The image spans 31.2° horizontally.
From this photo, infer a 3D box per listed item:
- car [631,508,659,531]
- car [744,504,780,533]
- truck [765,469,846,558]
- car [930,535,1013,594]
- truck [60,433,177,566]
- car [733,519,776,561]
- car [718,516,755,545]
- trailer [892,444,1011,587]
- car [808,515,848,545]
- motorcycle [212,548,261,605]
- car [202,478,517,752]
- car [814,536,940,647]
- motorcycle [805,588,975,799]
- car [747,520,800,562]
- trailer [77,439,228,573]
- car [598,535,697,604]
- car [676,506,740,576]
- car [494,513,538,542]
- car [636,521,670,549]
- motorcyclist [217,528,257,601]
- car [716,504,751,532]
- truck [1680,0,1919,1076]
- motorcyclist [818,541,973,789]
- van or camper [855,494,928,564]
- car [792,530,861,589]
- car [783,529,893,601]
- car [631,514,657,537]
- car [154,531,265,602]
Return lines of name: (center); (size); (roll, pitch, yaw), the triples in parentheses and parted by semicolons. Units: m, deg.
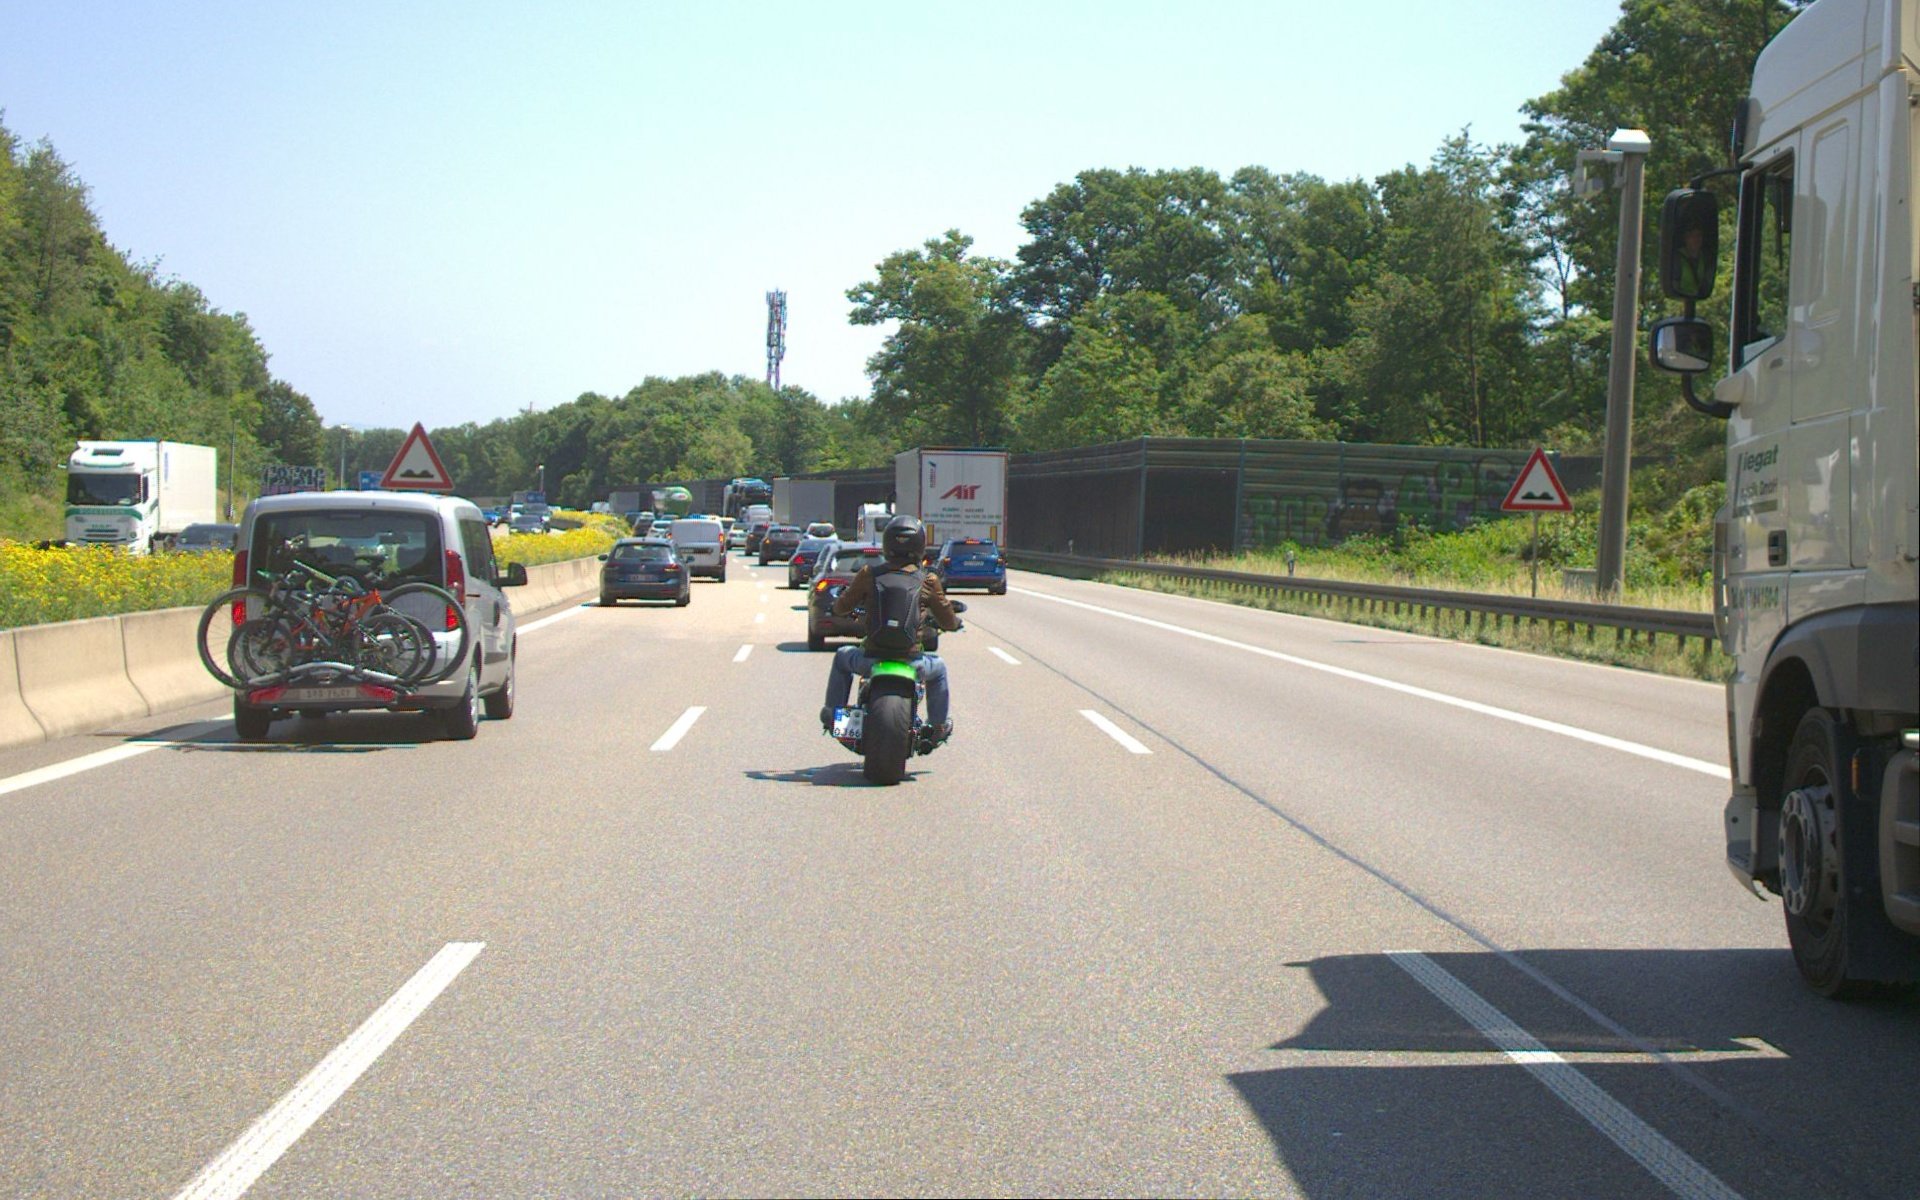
car: (-21.429, -5.460, 233.554); (1.832, 1.491, 3.744); (1, 0, -6)
car: (-13.354, -5.459, 231.461); (2.107, 1.870, 4.001); (1, 0, -7)
truck: (-8.986, -4.941, 199.227); (3.802, 4.943, 8.953); (1, 0, -8)
car: (0.283, -0.921, 90.069); (1.650, 1.477, 4.483); (1, 0, -7)
truck: (-26.521, -3.120, 108.504); (2.689, 4.076, 5.204); (1, 0, -4)
car: (-9.956, -2.894, 166.451); (1.911, 2.007, 3.691); (1, 0, -6)
car: (-12.063, -3.754, 185.490); (1.832, 1.491, 3.744); (1, 0, -5)
trailer: (-0.388, -2.598, 104.894); (2.885, 4.024, 13.797); (1, 1, -3)
car: (-7.201, -3.799, 187.333); (1.993, 1.568, 4.001); (1, 0, -4)
motorcycle: (-13.325, -0.437, 63.344); (0.623, 1.029, 1.467); (1, 1, -1)
car: (-4.430, 0.085, 25.946); (1.899, 1.867, 4.413); (1, 0, -4)
car: (-1.176, -0.130, 47.646); (1.662, 1.448, 3.869); (1, 0, -2)
motorcycle: (-0.417, 0.542, 21.453); (0.964, 1.144, 2.812); (1, 2, 0)
car: (-7.565, -2.393, 139.461); (1.993, 1.634, 4.001); (1, 0, -5)
trailer: (-26.968, -3.030, 115.427); (2.714, 4.193, 13.935); (1, 0, -4)
car: (-6.560, -0.650, 72.220); (1.993, 1.382, 4.001); (1, 0, -5)
car: (-7.507, -1.741, 102.489); (1.791, 2.007, 3.642); (1, 0, -3)
car: (-23.979, -3.925, 185.727); (1.993, 1.481, 4.000); (1, 0, -2)
car: (-17.287, -3.667, 193.555); (1.832, 1.491, 3.744); (1, 0, -5)
motorcyclist: (-13.318, -0.648, 63.311); (0.623, 1.329, 0.577); (1, 1, -2)
car: (-15.606, -5.657, 236.932); (2.107, 1.870, 4.001); (1, 0, -7)
truck: (4.167, -0.721, 10.042); (2.786, 4.190, 5.870); (1, 2, 0)
motorcyclist: (-0.385, 0.380, 21.404); (0.899, 1.470, 1.872); (1, 0, 0)
van or camper: (-2.926, -2.959, 144.815); (2.685, 2.803, 6.804); (1, 0, -4)
car: (-3.661, -1.100, 93.955); (1.779, 1.547, 3.585); (1, 0, -4)
car: (-2.538, -0.719, 70.834); (1.993, 1.425, 3.848); (1, 0, -6)
car: (-23.544, -5.560, 256.509); (1.839, 1.624, 4.001); (1, 1, -4)
car: (-18.033, -0.825, 82.748); (1.948, 1.636, 3.981); (1, 1, -3)
